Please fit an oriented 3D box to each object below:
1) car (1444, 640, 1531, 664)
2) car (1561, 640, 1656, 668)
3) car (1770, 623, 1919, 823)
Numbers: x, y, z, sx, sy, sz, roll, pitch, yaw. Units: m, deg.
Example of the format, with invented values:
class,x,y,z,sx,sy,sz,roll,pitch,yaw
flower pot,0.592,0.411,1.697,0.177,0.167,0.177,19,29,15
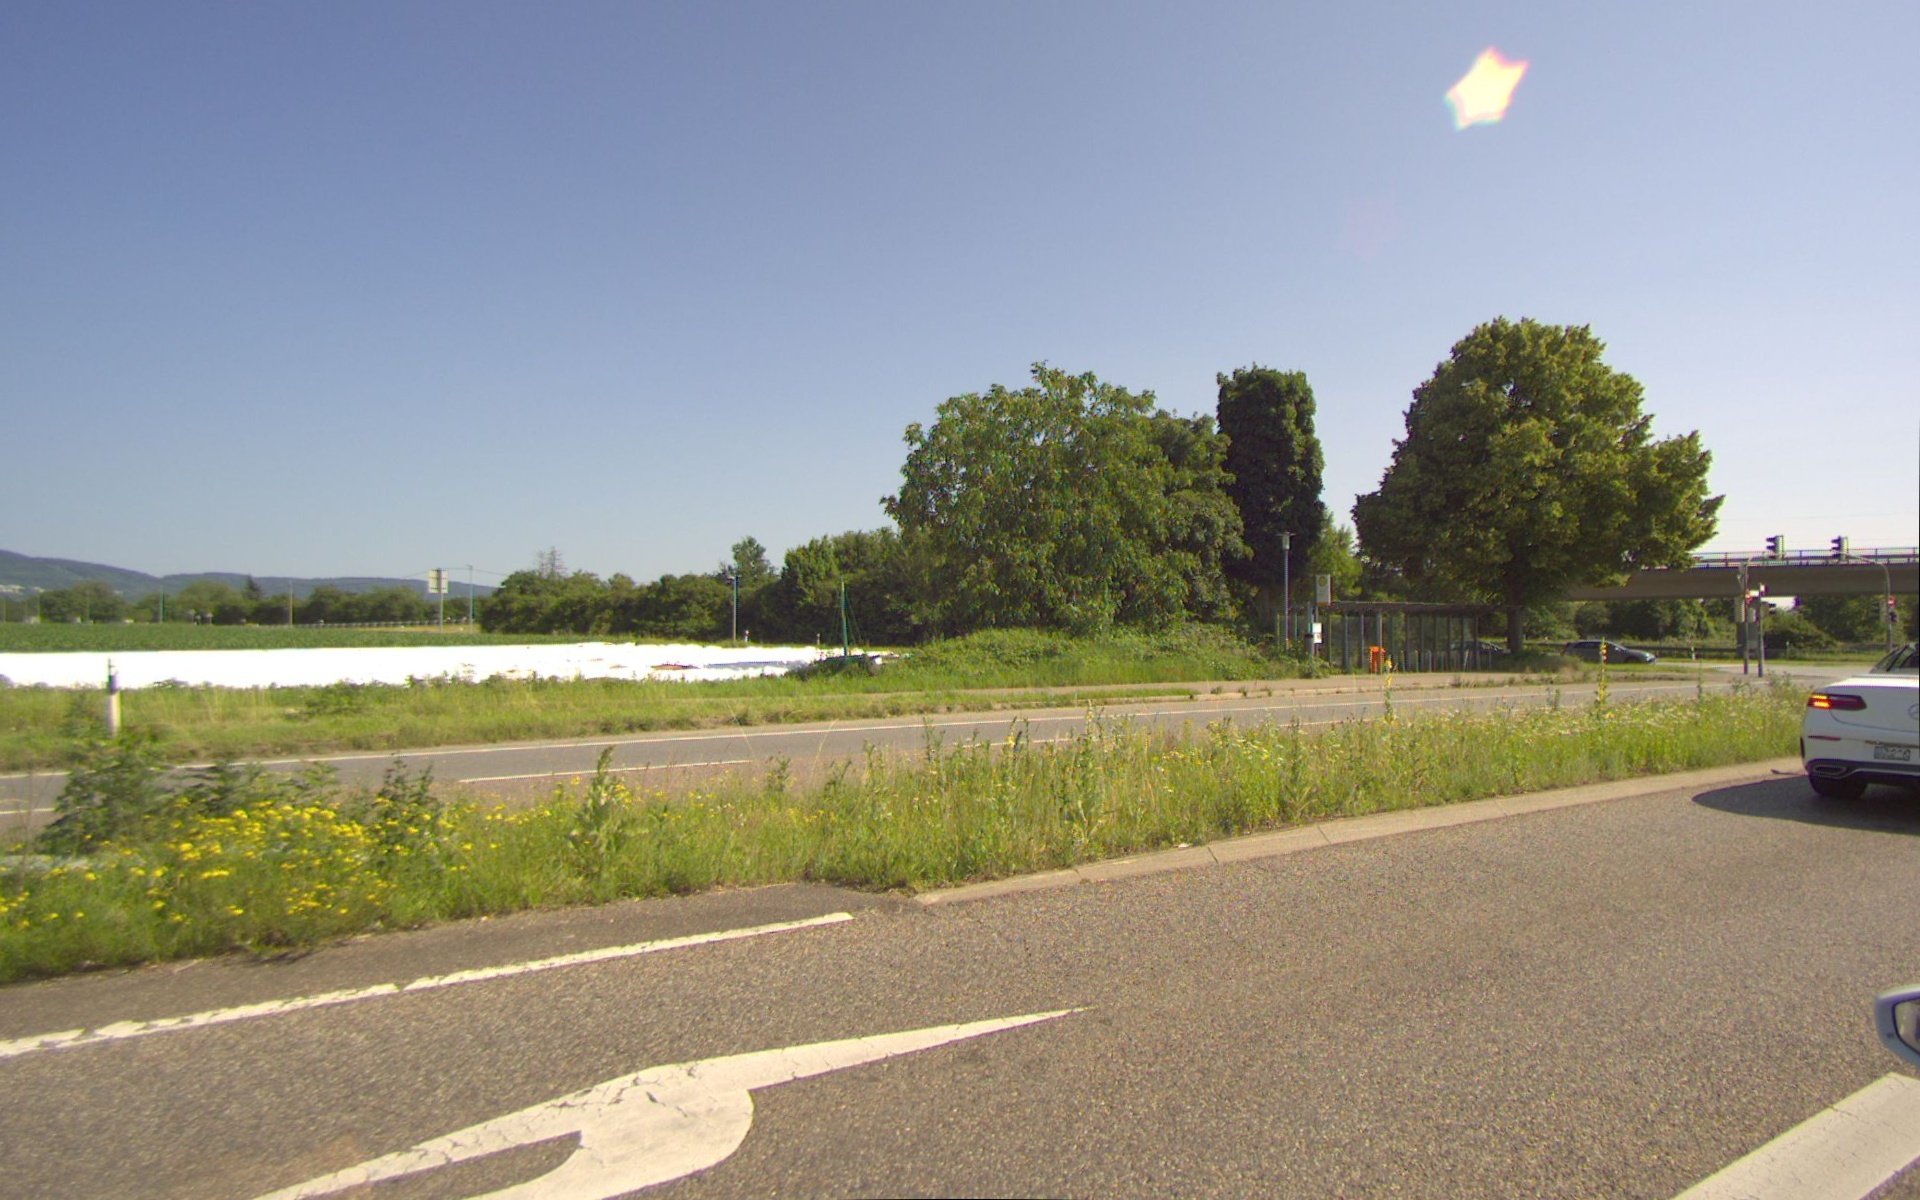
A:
class,x,y,z,sx,sy,sz,roll,pitch,yaw
car,29.671,2.917,56.548,4.278,1.297,1.648,-1,-2,31
car,34.513,2.839,53.529,4.065,1.443,1.862,-2,-3,40
car,8.975,0.955,8.535,4.588,1.444,1.794,1,-1,-31
